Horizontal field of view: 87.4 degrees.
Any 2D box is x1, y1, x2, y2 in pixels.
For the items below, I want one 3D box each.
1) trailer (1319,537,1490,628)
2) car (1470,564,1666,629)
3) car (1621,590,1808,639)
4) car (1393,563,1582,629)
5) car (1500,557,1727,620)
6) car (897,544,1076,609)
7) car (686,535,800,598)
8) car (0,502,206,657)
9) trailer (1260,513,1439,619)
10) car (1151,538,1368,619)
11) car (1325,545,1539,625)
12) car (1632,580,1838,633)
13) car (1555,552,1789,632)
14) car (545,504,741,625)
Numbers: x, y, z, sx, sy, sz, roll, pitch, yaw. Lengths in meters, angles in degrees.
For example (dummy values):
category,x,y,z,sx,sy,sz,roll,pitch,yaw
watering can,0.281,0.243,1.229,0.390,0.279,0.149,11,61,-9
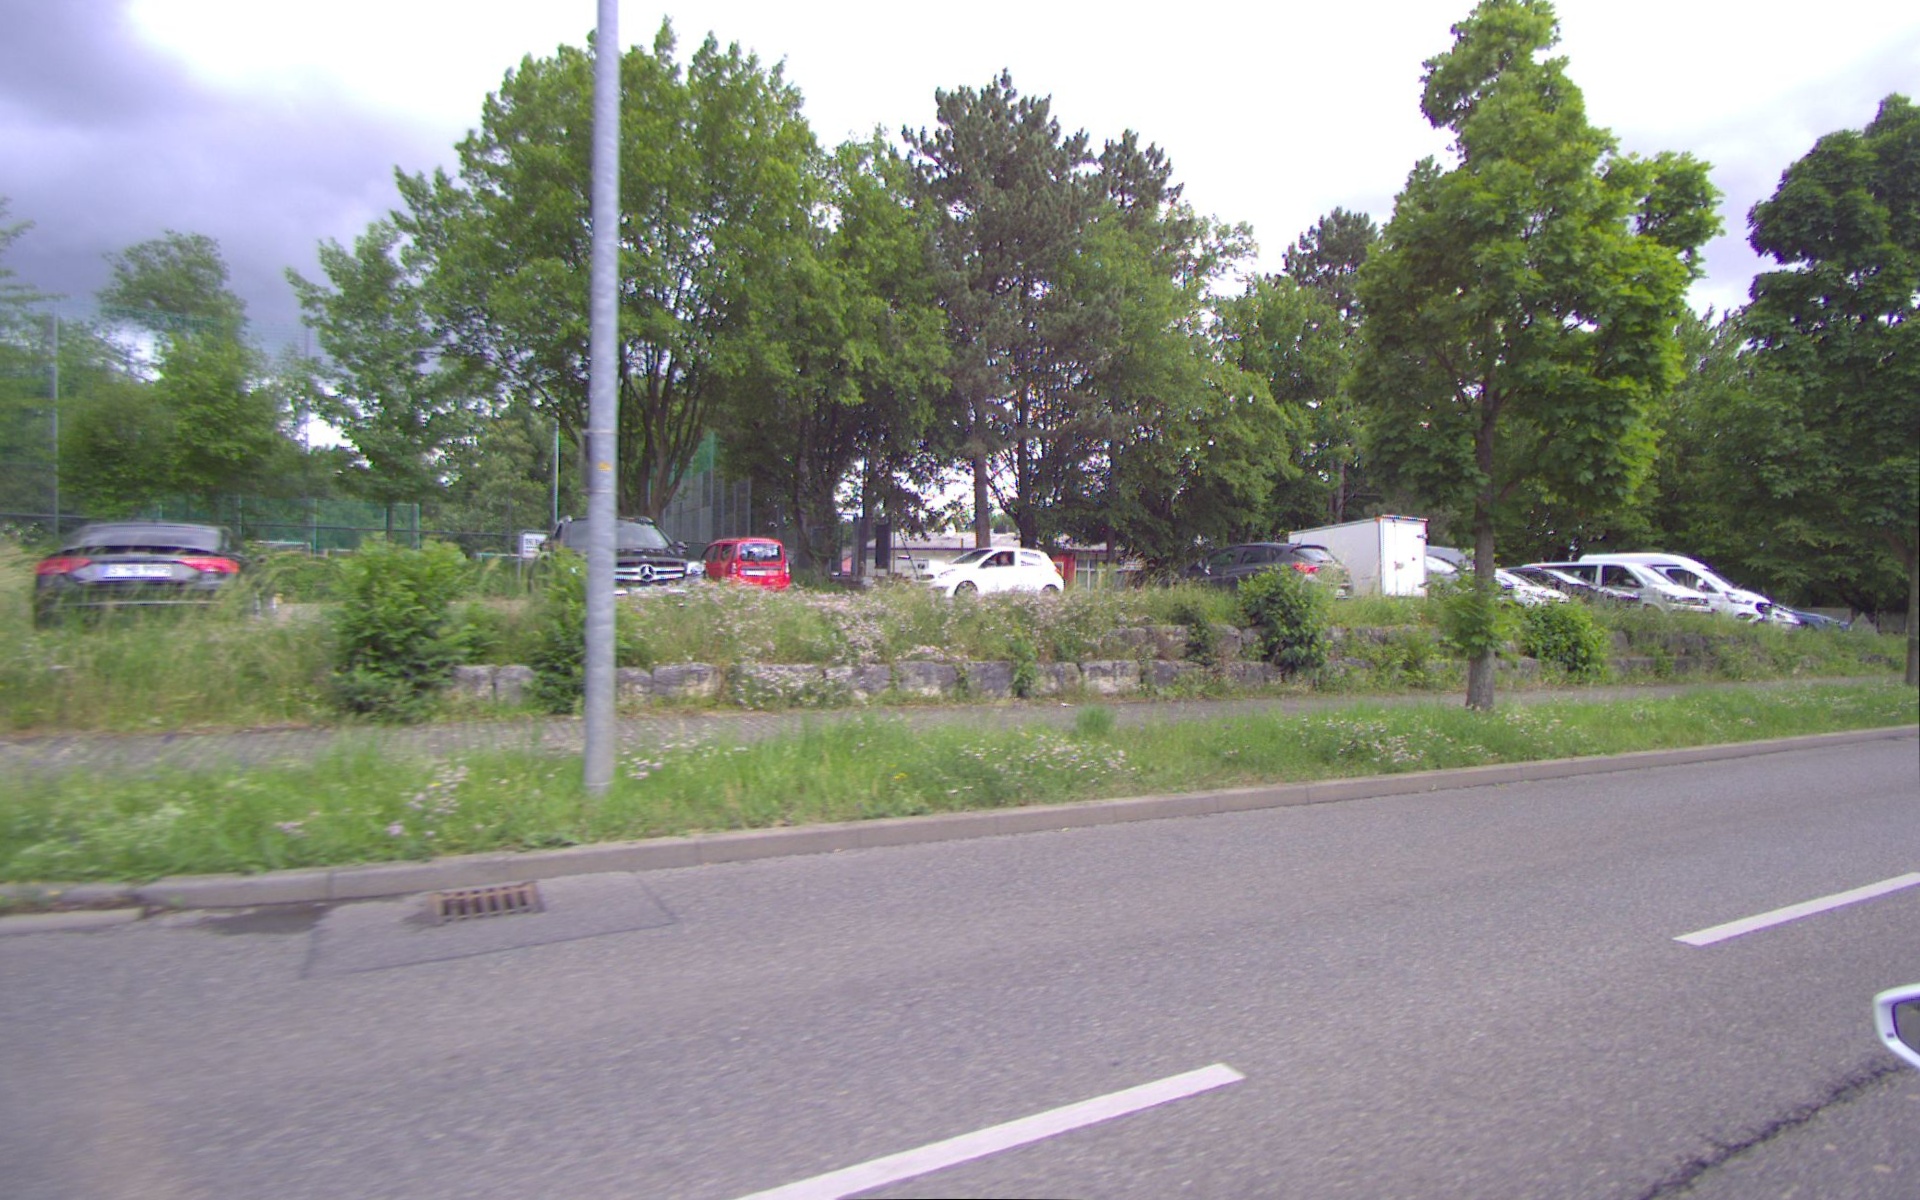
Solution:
category,x,y,z,sx,sy,sz,roll,pitch,yaw
trailer,17.884,-0.637,40.277,7.117,3.115,2.633,4,0,-32
car,16.168,-0.134,26.924,1.975,1.569,4.018,2,1,-28
car,23.297,0.415,31.177,1.546,1.334,4.353,2,1,-32
car,13.468,-0.145,25.891,1.758,1.532,4.018,2,1,-28
car,18.221,-0.359,28.326,2.071,1.569,4.973,2,1,-28
car,0.664,-0.564,25.091,3.998,1.436,1.984,2,1,-29
car,-5.761,-0.862,26.343,1.878,1.436,4.083,2,1,-28
car,-9.893,-0.247,10.993,1.975,1.436,3.970,2,1,-28
trailer,8.390,-0.683,21.896,1.657,2.085,3.353,2,0,-27
car,5.962,-0.432,20.487,1.975,1.436,4.018,2,1,-28
car,10.639,-0.350,22.935,1.975,1.605,4.018,2,1,-28
car,25.857,0.170,33.735,1.865,1.582,5.127,2,1,-32
car,20.767,-0.270,29.560,2.190,2.135,5.127,1,1,-32
car,-4.682,-0.477,14.435,1.975,1.436,4.017,2,1,-28
